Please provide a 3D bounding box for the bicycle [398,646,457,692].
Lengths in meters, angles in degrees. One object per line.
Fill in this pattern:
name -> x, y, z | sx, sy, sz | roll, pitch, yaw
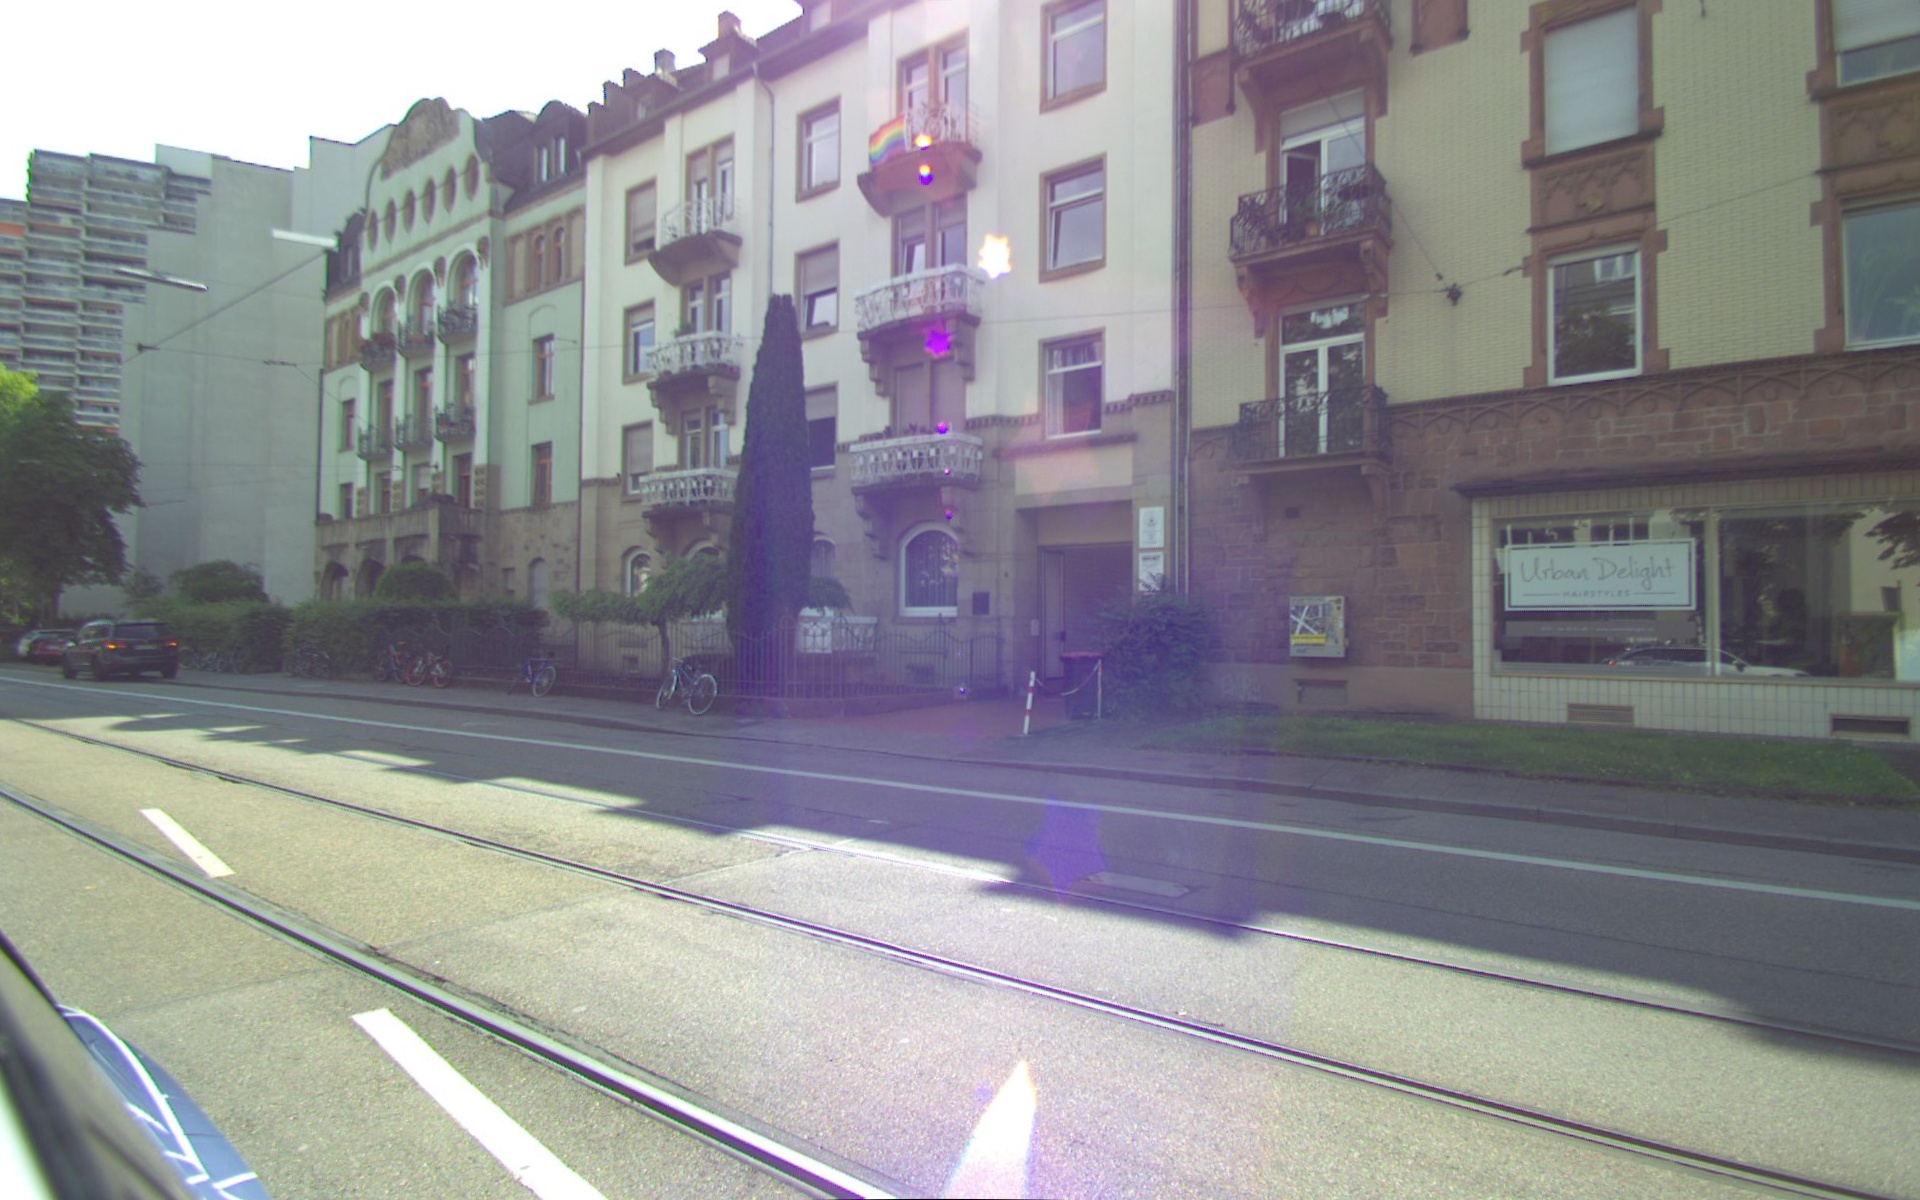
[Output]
bicycle -> -12.479, 1.593, 23.698 | 1.872, 0.993, 0.579 | 0, -2, 42

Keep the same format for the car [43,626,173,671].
car -> -33.078, 1.858, 39.377 | 1.608, 1.652, 3.587 | -1, -2, 37

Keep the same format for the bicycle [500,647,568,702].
bicycle -> -8.863, 1.525, 21.032 | 1.872, 1.037, 0.532 | 0, -2, 42

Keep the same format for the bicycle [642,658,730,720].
bicycle -> -4.836, 1.534, 17.776 | 2.068, 0.913, 0.517 | 1, -1, 45

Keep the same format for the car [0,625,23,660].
car -> -51.266, 2.205, 52.528 | 1.733, 1.857, 3.619 | -1, -3, 37

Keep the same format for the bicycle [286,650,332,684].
bicycle -> -17.516, 1.788, 27.216 | 1.872, 0.803, 0.579 | 0, 0, 42

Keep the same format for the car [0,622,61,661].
car -> -48.223, 2.078, 51.108 | 1.829, 1.940, 3.947 | -1, -3, 39

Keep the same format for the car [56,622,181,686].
car -> -24.423, 1.528, 29.334 | 4.324, 1.724, 1.775 | -1, -3, 37

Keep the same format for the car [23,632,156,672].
car -> -35.371, 2.077, 41.186 | 1.633, 1.548, 3.841 | -1, -3, 39
